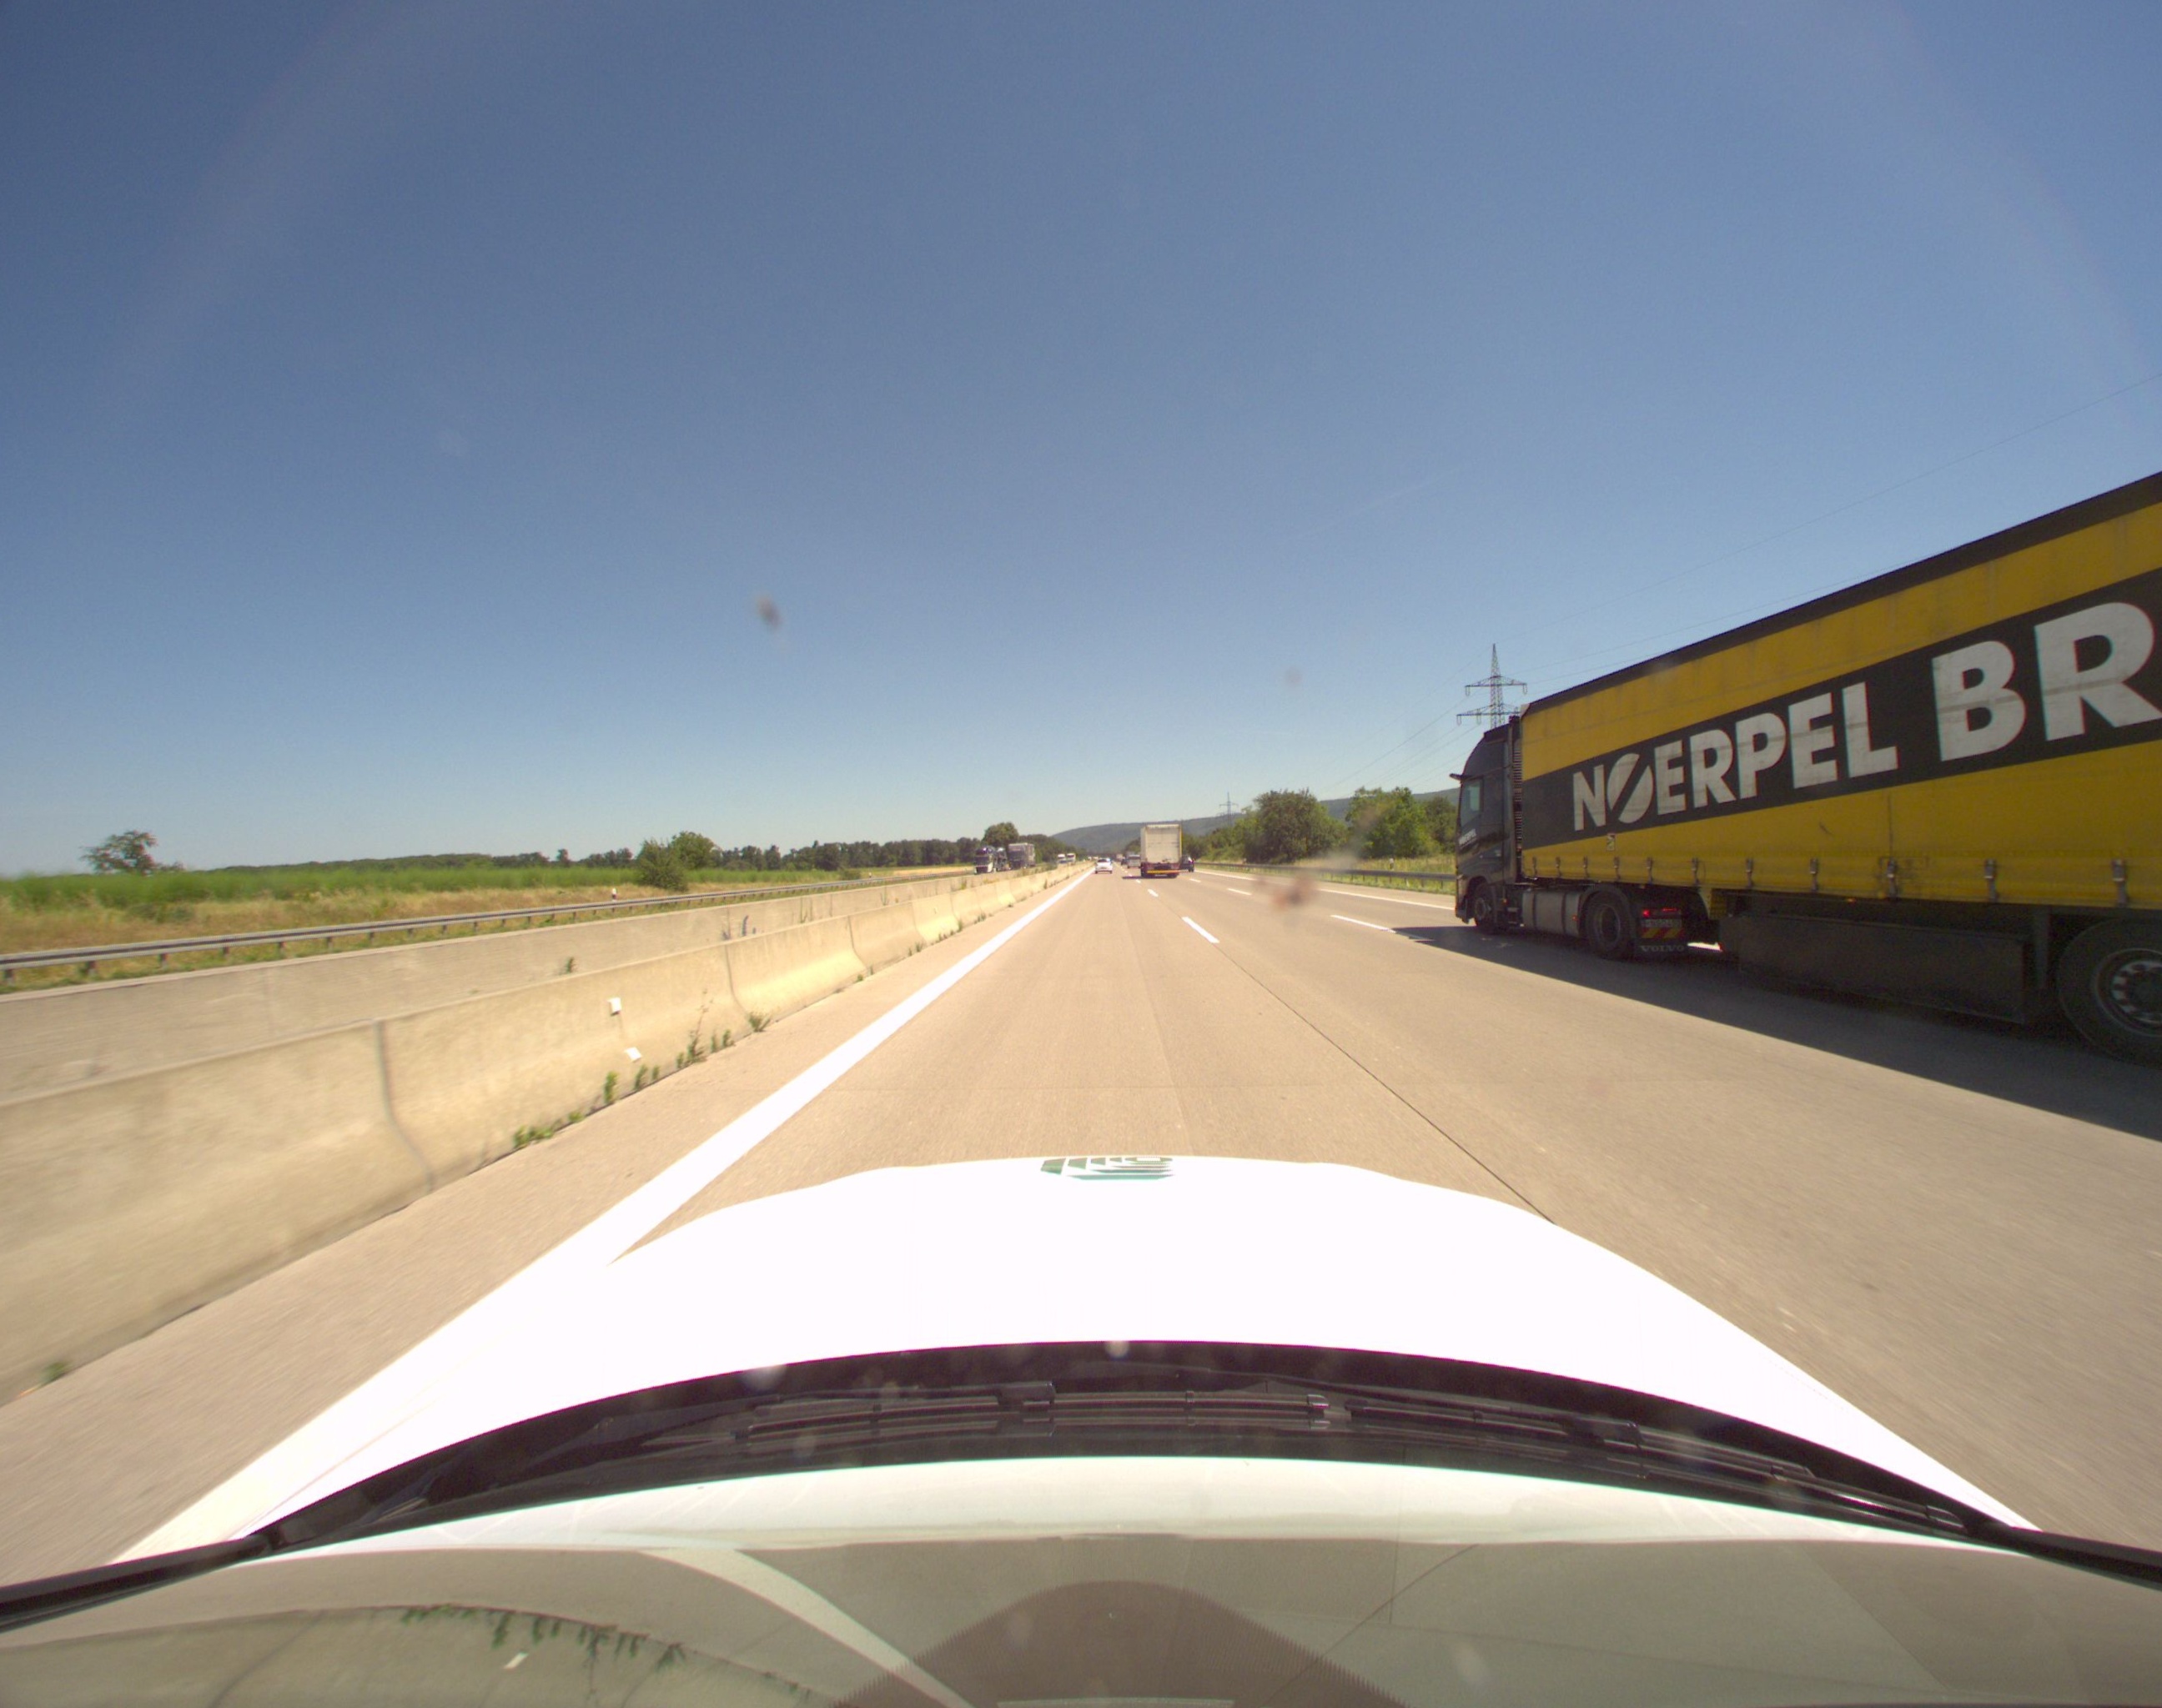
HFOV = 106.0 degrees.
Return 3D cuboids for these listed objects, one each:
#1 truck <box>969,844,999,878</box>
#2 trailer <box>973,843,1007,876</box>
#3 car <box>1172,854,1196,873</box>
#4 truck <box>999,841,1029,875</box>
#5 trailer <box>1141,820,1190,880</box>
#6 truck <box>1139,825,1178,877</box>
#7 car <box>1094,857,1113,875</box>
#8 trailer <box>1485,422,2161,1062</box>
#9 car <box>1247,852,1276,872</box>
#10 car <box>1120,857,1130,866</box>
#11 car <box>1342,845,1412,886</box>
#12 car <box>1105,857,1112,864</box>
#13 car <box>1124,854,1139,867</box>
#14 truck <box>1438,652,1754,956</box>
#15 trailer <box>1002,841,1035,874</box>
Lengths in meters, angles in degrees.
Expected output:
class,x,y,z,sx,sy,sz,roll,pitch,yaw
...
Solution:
class,x,y,z,sx,sy,sz,roll,pitch,yaw
truck,-13.369,0.988,112.653,3.219,4.606,6.252,0,-1,2
trailer,-13.191,0.837,118.981,3.219,4.606,12.298,0,0,2
car,10.460,0.947,82.636,1.986,1.849,4.001,1,0,1
truck,-9.294,0.553,114.199,3.255,4.476,7.192,-3,-1,2
trailer,5.820,-0.228,57.432,2.572,3.878,10.374,0,0,1
truck,5.949,-0.191,63.043,2.572,3.878,4.985,0,-1,1
car,2.264,1.173,81.373,1.813,1.662,4.000,-1,0,1
trailer,8.146,-0.724,7.453,1.986,4.193,14.751,0,0,2
car,17.485,0.780,79.001,1.986,1.849,4.001,1,0,1
car,9.049,1.590,167.630,1.987,1.849,3.999,1,0,0
car,14.165,0.528,39.211,1.986,1.849,4.001,1,0,1
car,7.665,1.821,227.164,1.986,1.849,4.001,1,0,1
car,7.111,0.956,115.623,1.986,1.849,4.001,0,0,1
truck,8.363,-0.680,14.117,1.986,4.193,5.708,0,-1,2
trailer,-9.146,0.600,121.505,3.255,4.476,14.456,-3,0,2
